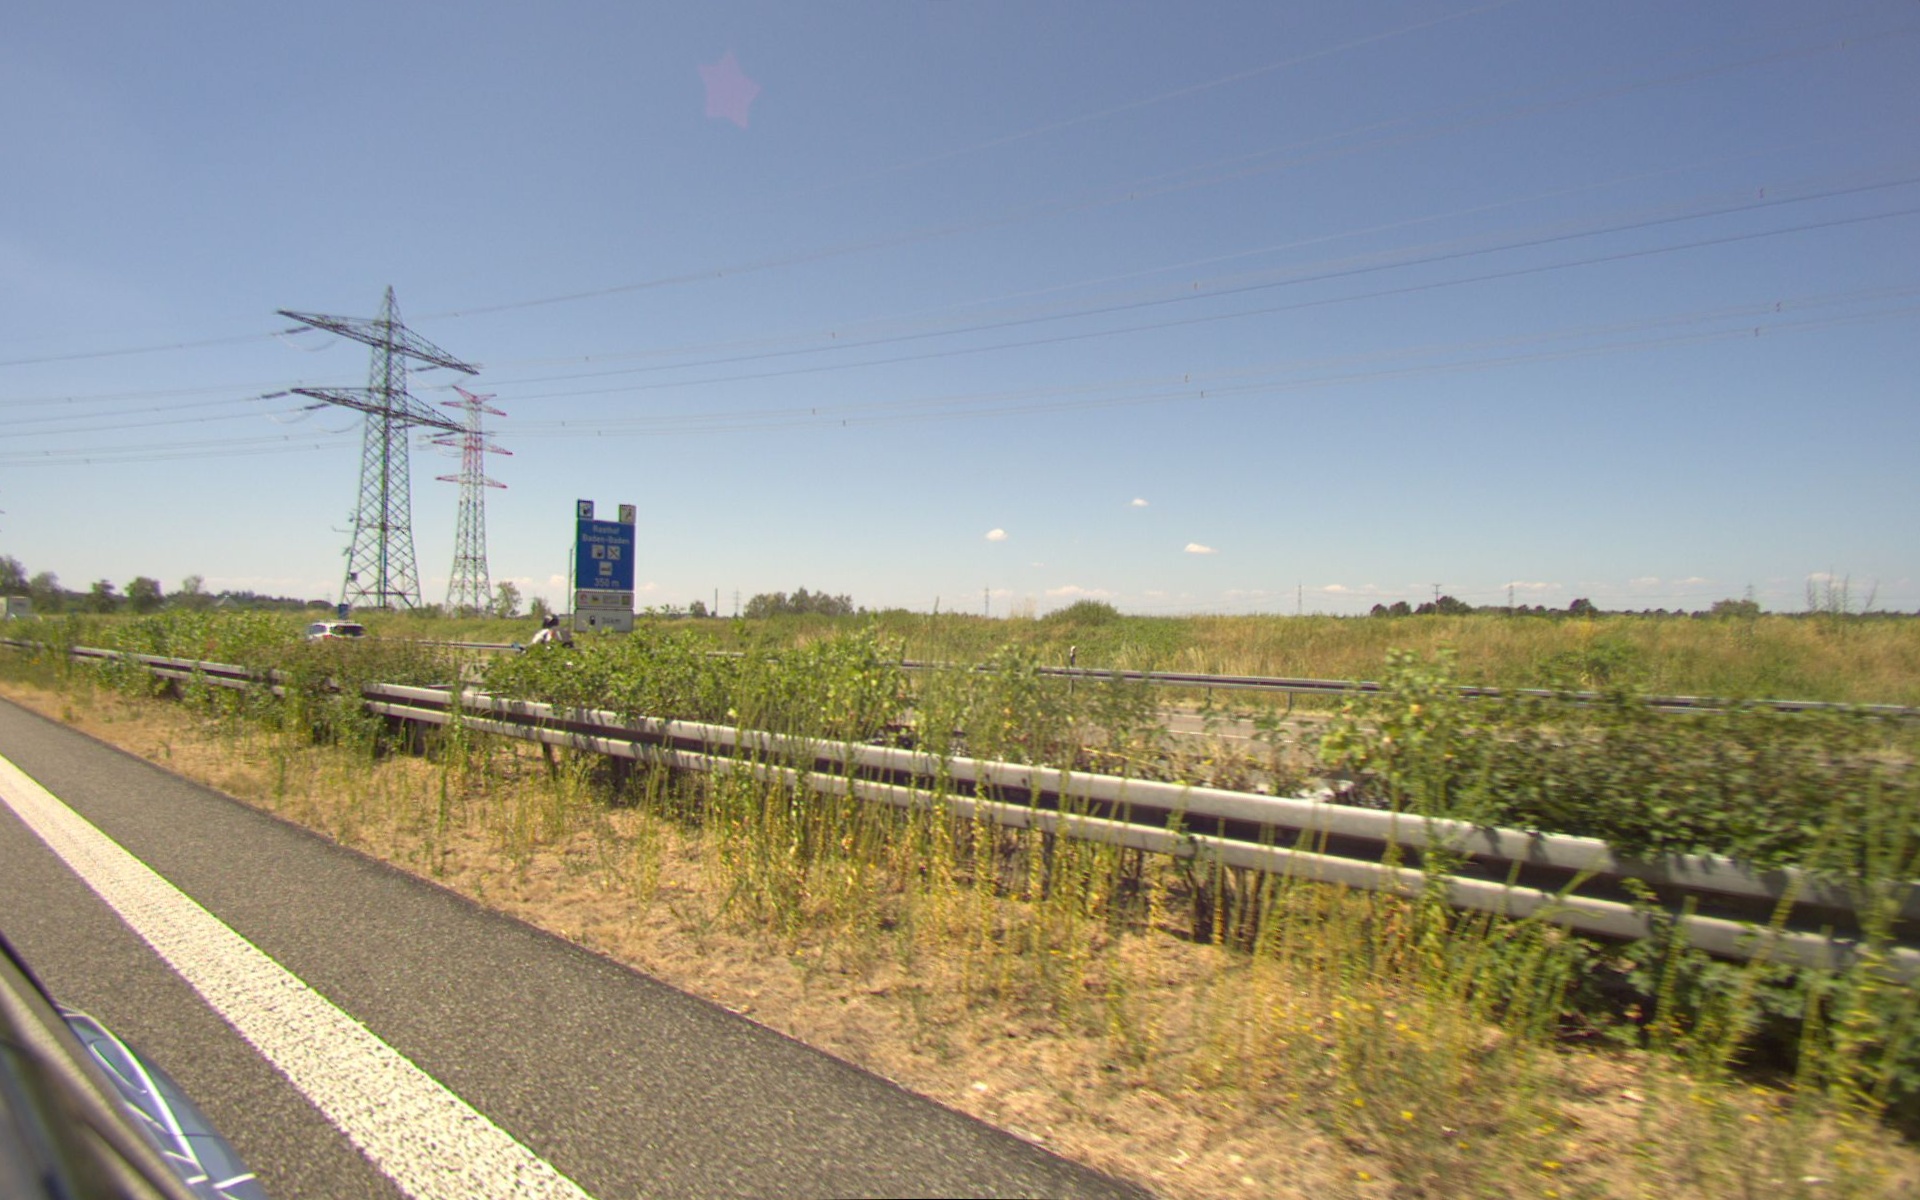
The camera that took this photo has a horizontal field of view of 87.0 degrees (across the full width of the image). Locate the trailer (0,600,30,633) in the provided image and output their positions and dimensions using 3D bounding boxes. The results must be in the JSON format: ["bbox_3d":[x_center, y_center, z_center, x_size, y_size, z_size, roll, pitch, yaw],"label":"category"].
[{"bbox_3d":[-121.016,2.132,128.223,15.968,3.851,2.824,-1,-2,41],"label":"trailer"}]

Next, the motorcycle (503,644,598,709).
[{"bbox_3d":[-6.813,1.240,16.797,1.845,0.979,0.691,-1,-2,41],"label":"motorcycle"}]

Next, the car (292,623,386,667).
[{"bbox_3d":[-22.544,1.584,36.695,3.998,1.491,1.793,-1,-2,41],"label":"car"}]

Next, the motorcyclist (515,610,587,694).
[{"bbox_3d":[-6.806,0.849,16.842,1.013,1.357,0.700,-1,-2,40],"label":"motorcyclist"}]

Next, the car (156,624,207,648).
[{"bbox_3d":[-48.671,2.232,63.228,4.266,1.445,1.578,-1,-2,39],"label":"car"}]
